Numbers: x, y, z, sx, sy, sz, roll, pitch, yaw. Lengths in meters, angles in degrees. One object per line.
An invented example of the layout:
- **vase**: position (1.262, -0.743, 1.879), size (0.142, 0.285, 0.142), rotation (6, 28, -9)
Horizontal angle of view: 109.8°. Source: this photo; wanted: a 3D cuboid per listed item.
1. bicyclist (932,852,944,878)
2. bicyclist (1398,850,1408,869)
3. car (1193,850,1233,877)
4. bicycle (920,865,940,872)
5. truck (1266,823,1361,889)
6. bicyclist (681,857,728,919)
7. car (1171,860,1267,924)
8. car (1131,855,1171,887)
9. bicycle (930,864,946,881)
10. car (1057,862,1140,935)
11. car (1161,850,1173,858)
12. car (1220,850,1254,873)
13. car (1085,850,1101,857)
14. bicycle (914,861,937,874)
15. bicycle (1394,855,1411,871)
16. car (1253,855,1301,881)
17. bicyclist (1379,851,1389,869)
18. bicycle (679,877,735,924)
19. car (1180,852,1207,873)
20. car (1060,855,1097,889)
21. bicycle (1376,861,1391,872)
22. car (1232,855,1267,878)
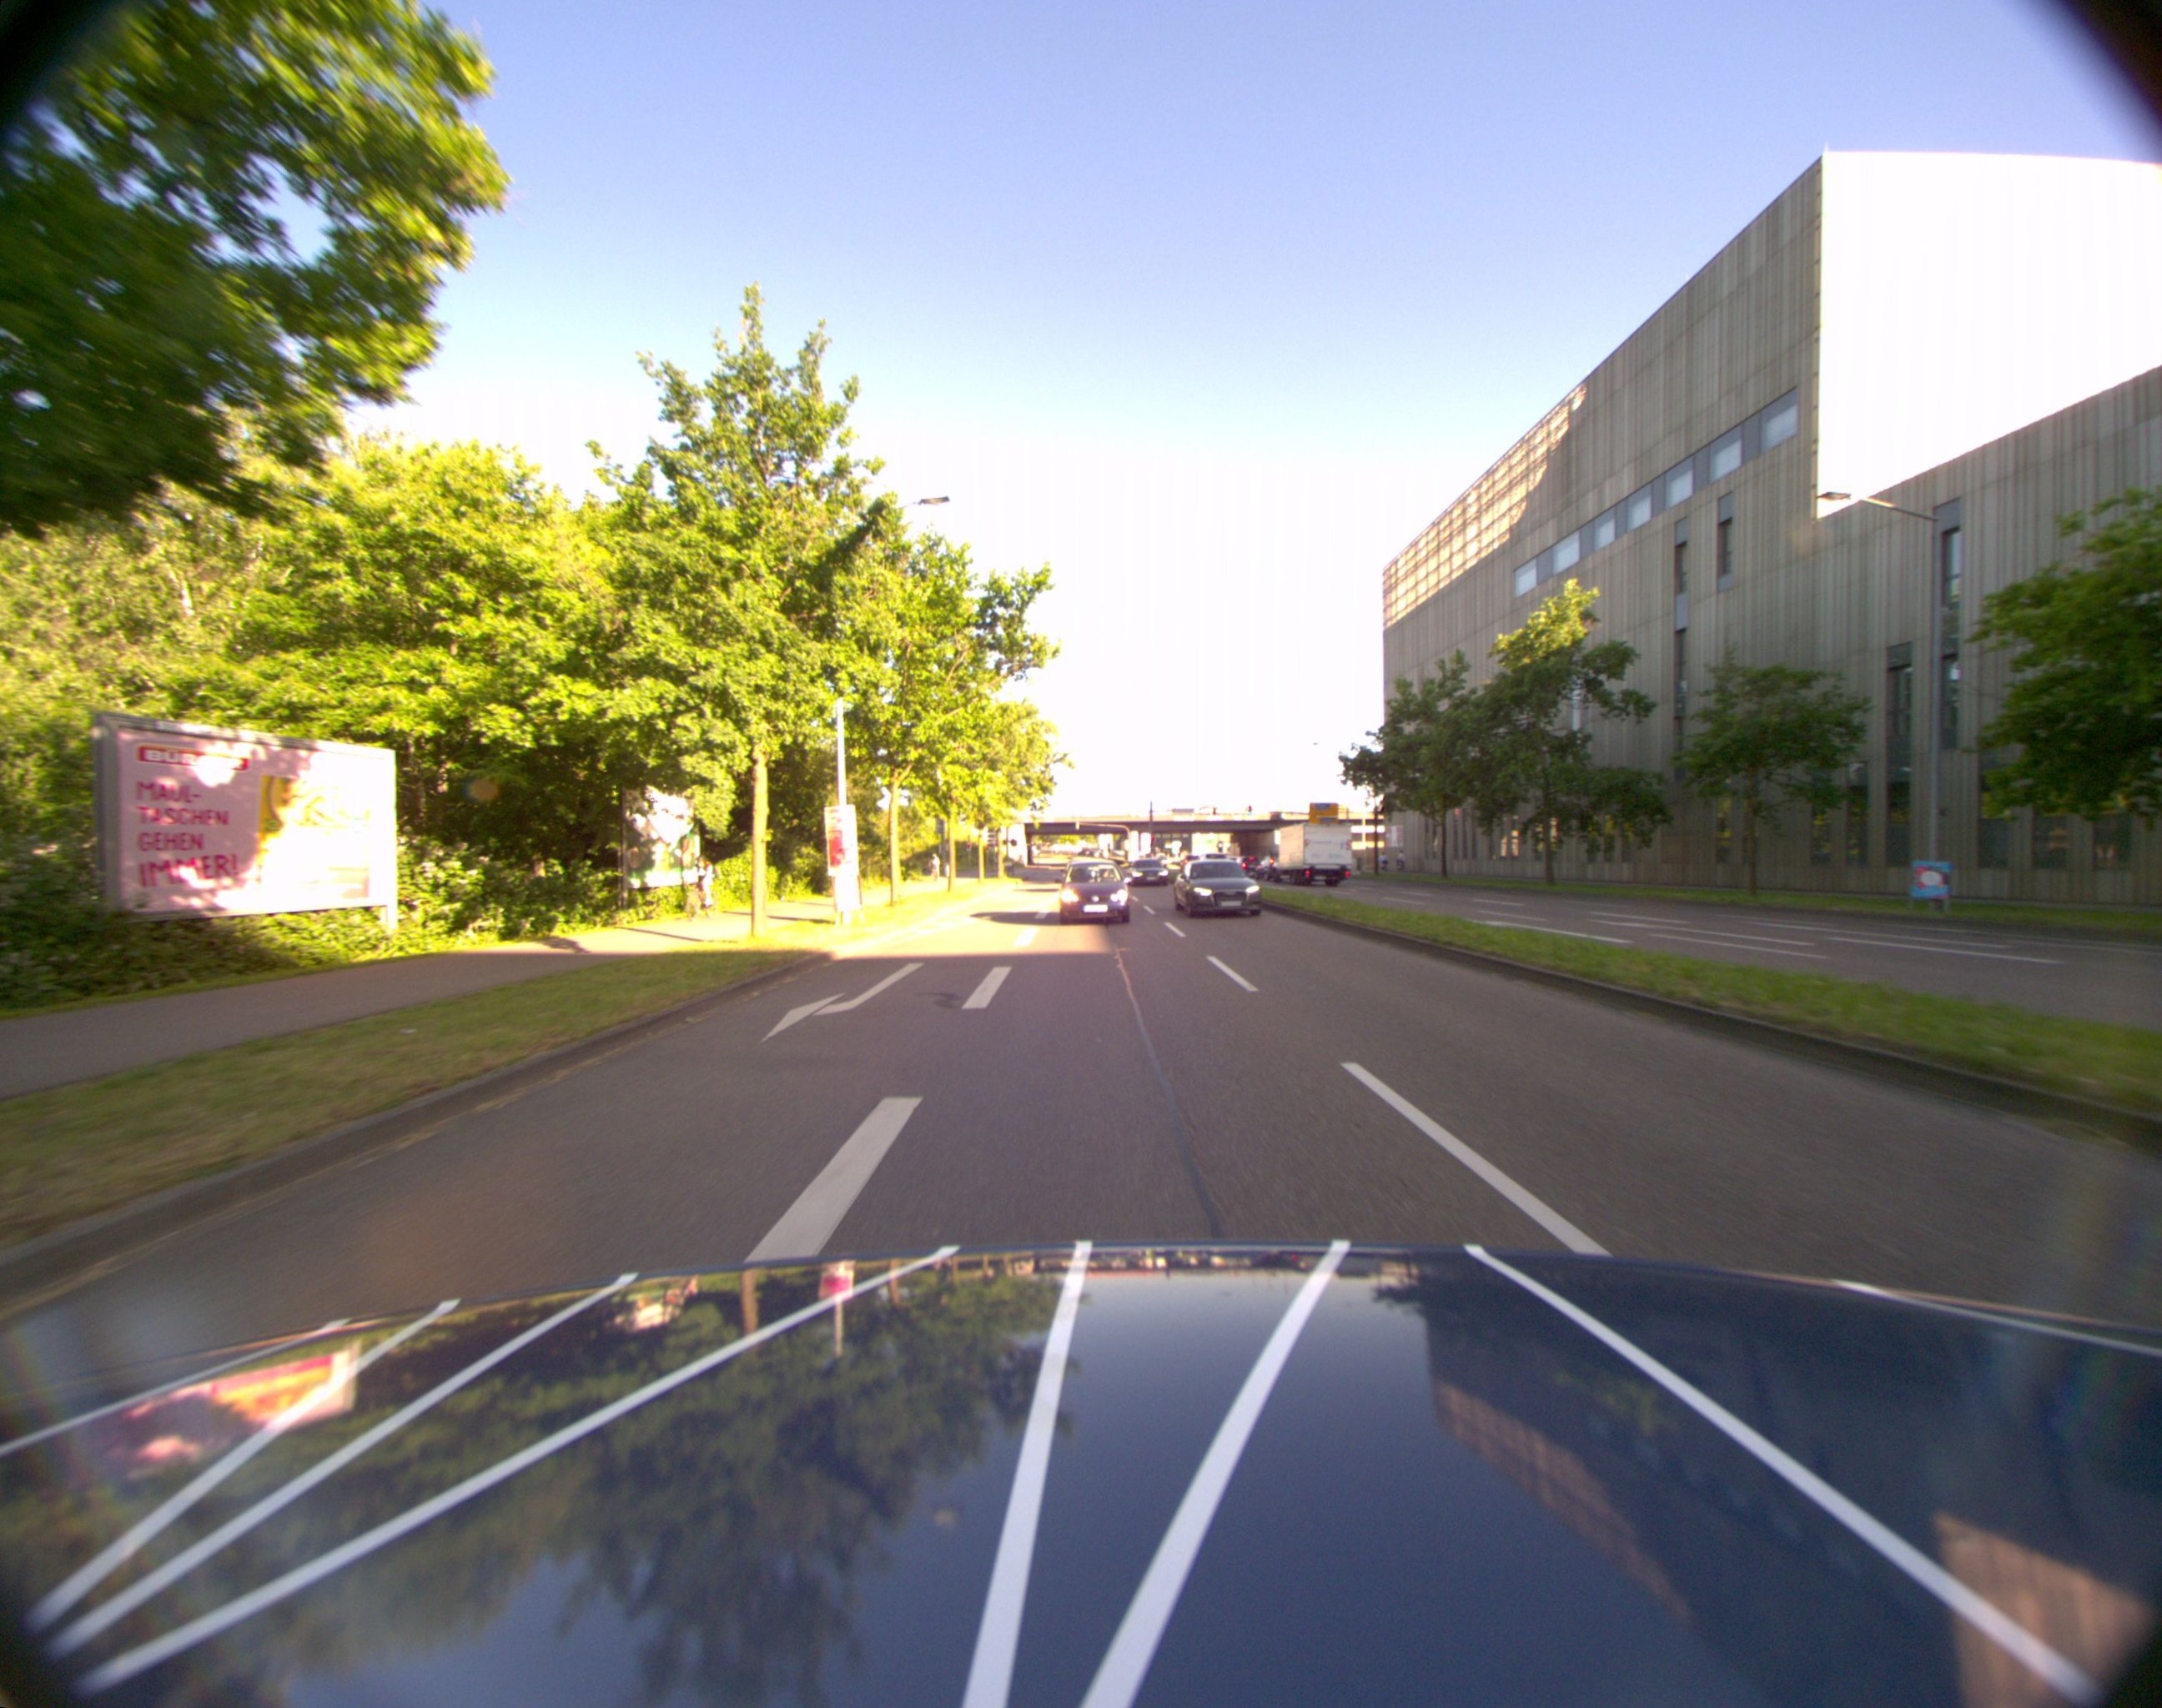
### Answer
- **bicyclist**: position (-8.855, 0.653, 47.056), size (0.566, 1.600, 0.865), rotation (-1, 1, 0)
- **bicyclist**: position (26.336, 0.457, 62.123), size (0.508, 1.498, 0.645), rotation (0, 0, -1)
- **car**: position (8.747, 0.624, 50.768), size (1.828, 1.672, 4.658), rotation (1, 0, 0)
- **bicycle**: position (-12.666, 1.215, 63.852), size (0.844, 0.618, 2.190), rotation (1, -1, -34)
- **truck**: position (11.537, 0.074, 38.440), size (2.693, 2.943, 7.114), rotation (1, 0, 1)
- **bicyclist**: position (-9.492, 0.840, 19.177), size (0.687, 1.513, 1.035), rotation (-1, 1, -3)
- **car**: position (3.500, 0.910, 20.075), size (1.702, 1.396, 4.364), rotation (-2, 0, 0)
- **car**: position (3.639, 0.863, 39.919), size (1.702, 1.528, 3.946), rotation (-1, 0, 0)
- **bicycle**: position (-8.870, 1.151, 47.220), size (0.573, 0.986, 2.046), rotation (-1, 0, 0)
- **car**: position (0.371, 0.965, 17.989), size (1.702, 1.474, 4.052), rotation (-2, 0, 0)
- **car**: position (16.370, -0.052, 144.607), size (1.707, 1.433, 4.880), rotation (1, 0, 0)
- **car**: position (11.885, 0.561, 58.170), size (1.846, 1.646, 3.999), rotation (0, 1, 1)
- **car**: position (2.912, -0.137, 182.588), size (1.993, 1.433, 4.870), rotation (0, 0, -24)
- **bicycle**: position (-13.469, 1.158, 65.847), size (1.992, 1.046, 0.455), rotation (-1, 1, 13)
- **bicycle**: position (26.338, 0.737, 62.326), size (0.513, 1.262, 2.099), rotation (0, 0, 0)
- **car**: position (11.637, 0.808, 45.327), size (1.840, 1.415, 4.000), rotation (1, 0, 0)
- **bicyclist**: position (25.149, 0.513, 62.995), size (0.509, 1.434, 0.753), rotation (0, 0, -1)
- **bicycle**: position (-9.478, 1.156, 19.325), size (0.517, 1.066, 1.935), rotation (-1, 0, -3)
- **car**: position (8.623, 0.626, 58.453), size (1.605, 1.571, 3.213), rotation (1, 0, 1)
- **car**: position (-0.116, 0.820, 36.605), size (1.702, 1.478, 3.946), rotation (-1, 0, 0)
- **bicycle**: position (25.155, 1.024, 63.131), size (0.513, 0.885, 1.754), rotation (0, 0, 0)
- **car**: position (11.627, 0.840, 52.630), size (1.624, 1.461, 3.640), rotation (1, 0, 1)
